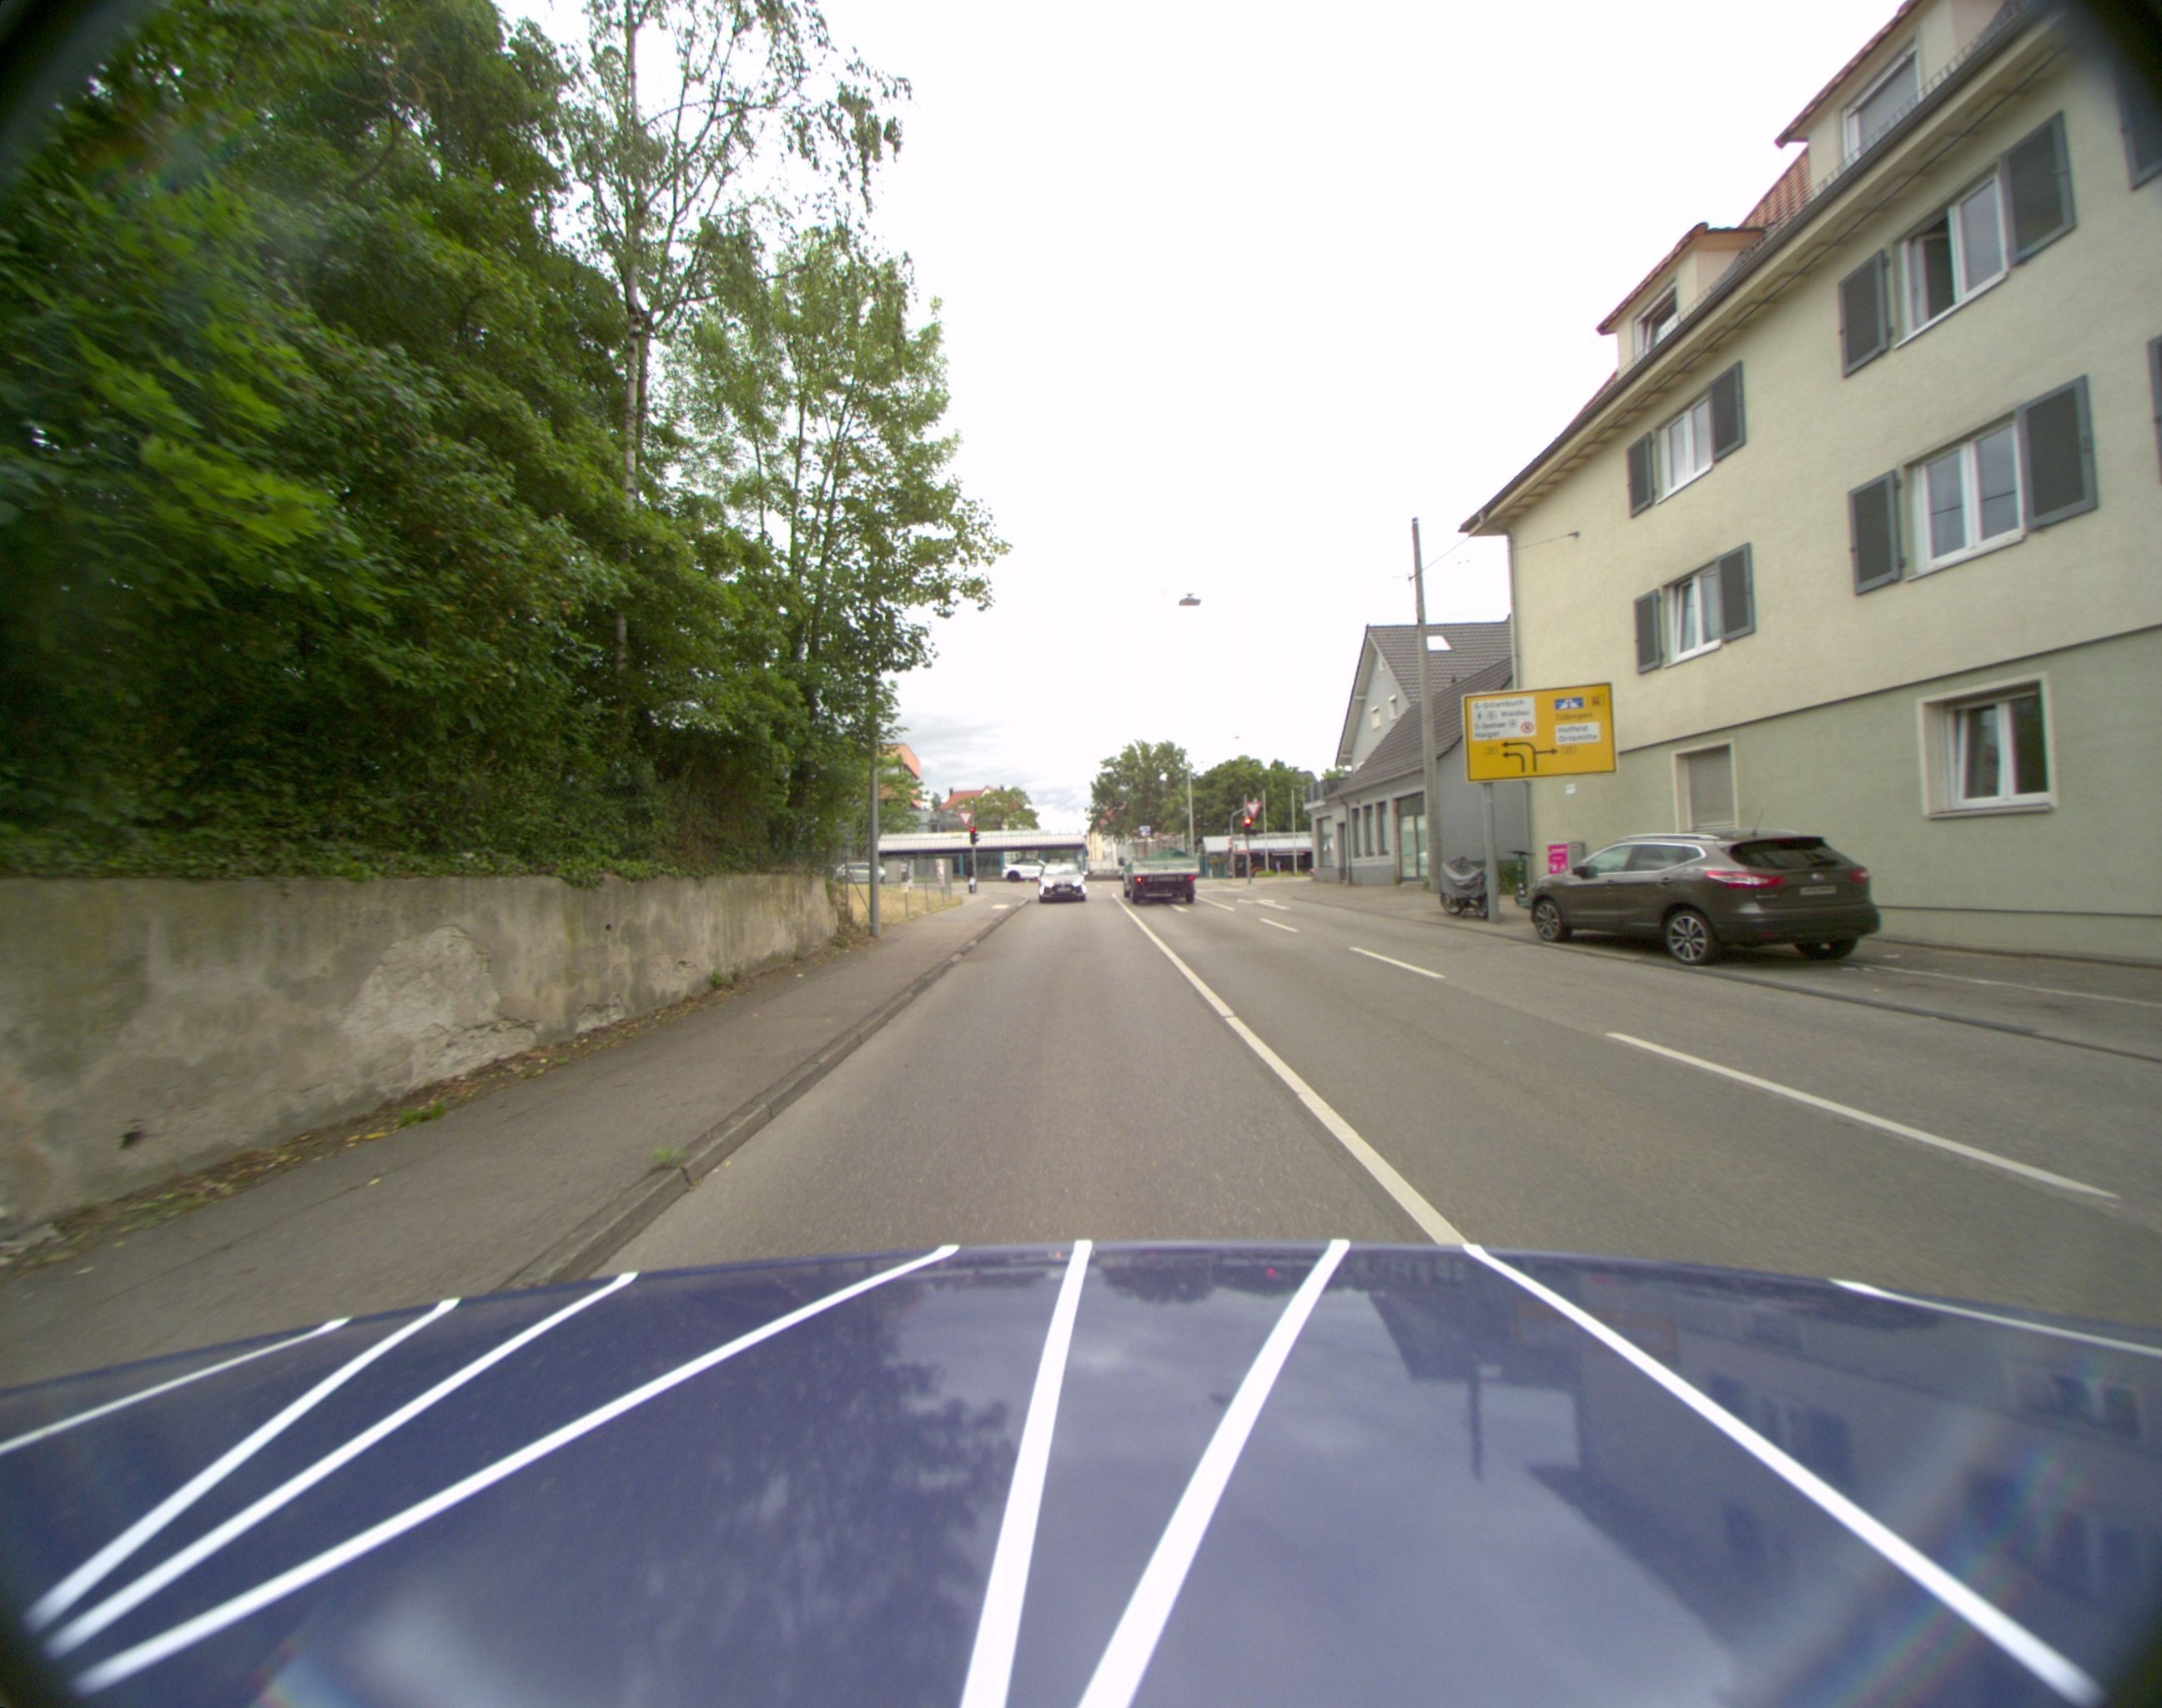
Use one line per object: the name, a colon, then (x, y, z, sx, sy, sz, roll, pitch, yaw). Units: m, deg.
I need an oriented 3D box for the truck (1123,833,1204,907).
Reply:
truck: (2.761, 0.507, 27.006, 2.126, 2.188, 6.589, -3, 0, 0)

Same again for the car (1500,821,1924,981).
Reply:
car: (8.096, 0.511, 10.522, 1.826, 1.623, 4.696, -3, 0, -2)

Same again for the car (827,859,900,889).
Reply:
car: (-13.464, 1.239, 47.201, 3.999, 1.683, 1.974, -2, 0, -5)

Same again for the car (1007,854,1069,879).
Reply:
car: (-2.859, 0.821, 50.153, 3.999, 1.503, 1.999, -2, 0, -5)

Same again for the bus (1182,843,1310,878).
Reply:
bus: (15.791, 0.664, 73.426, 11.846, 3.043, 2.001, -2, -2, 3)

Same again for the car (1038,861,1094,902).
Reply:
car: (-0.504, 0.992, 28.646, 1.645, 1.390, 3.783, -1, 0, 6)

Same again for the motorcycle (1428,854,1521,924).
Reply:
motorcycle: (8.020, 0.671, 15.610, 0.627, 1.283, 2.230, -4, 0, -2)

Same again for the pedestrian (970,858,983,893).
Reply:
pedestrian: (-4.875, 0.995, 35.482, 0.553, 1.581, 0.672, 1, 0, -2)

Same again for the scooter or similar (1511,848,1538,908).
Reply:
scooter or similar: (9.879, 0.528, 16.940, 0.357, 1.257, 0.987, -3, 1, 24)
